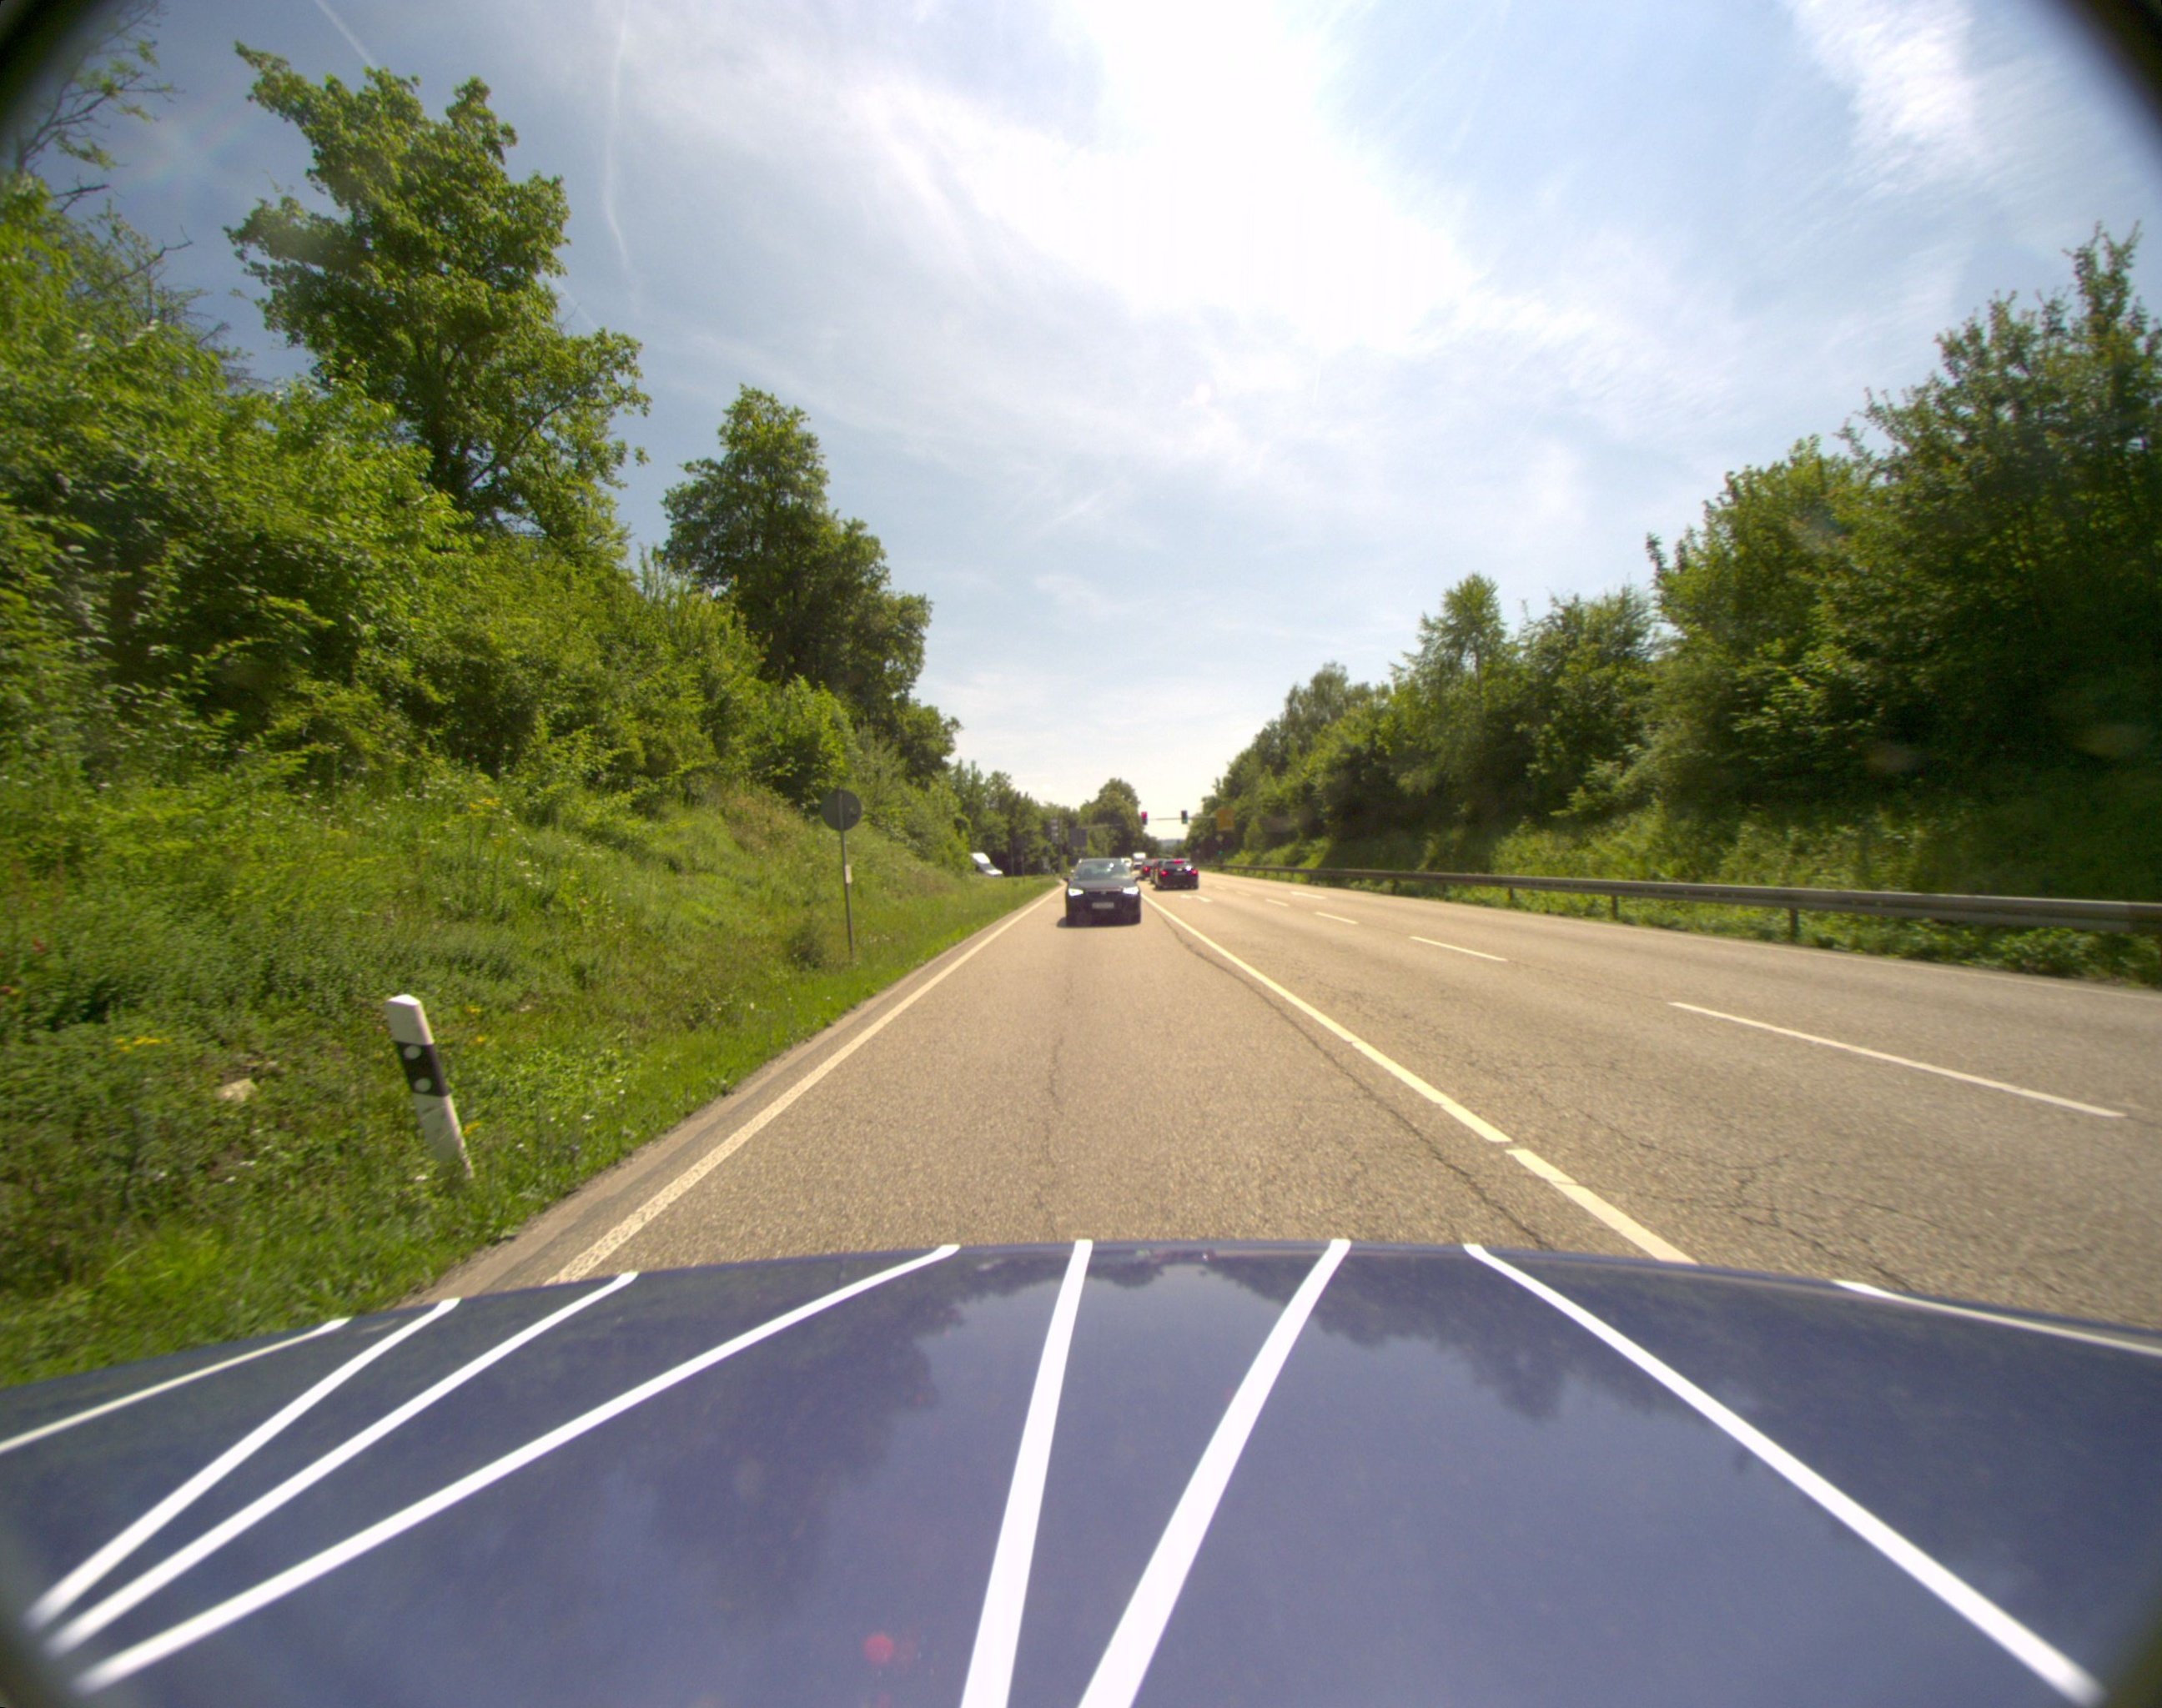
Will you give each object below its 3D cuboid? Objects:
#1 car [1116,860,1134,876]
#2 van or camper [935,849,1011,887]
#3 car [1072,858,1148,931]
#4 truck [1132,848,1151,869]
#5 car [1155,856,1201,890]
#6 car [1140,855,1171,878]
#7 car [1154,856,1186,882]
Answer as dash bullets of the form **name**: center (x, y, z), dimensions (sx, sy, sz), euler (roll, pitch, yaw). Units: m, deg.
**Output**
- **car**: center (6.101, 1.899, 103.911), dimensions (1.997, 2.001, 4.002), euler (-4, 0, 8)
- **van or camper**: center (-10.500, 1.381, 73.747), dimensions (7.236, 3.193, 2.108), euler (-5, 0, 29)
- **car**: center (0.712, 0.893, 18.698), dimensions (1.626, 1.535, 4.001), euler (-2, 0, 2)
- **truck**: center (11.789, 0.810, 147.559), dimensions (2.838, 3.795, 8.455), euler (-4, 1, 9)
- **car**: center (4.557, 0.858, 36.244), dimensions (1.808, 1.445, 4.387), euler (-2, 0, 3)
- **car**: center (5.203, 0.871, 53.364), dimensions (1.786, 1.438, 4.641), euler (-2, -1, 1)
- **car**: center (5.177, 0.879, 44.603), dimensions (1.685, 1.406, 4.183), euler (-1, -1, 5)
